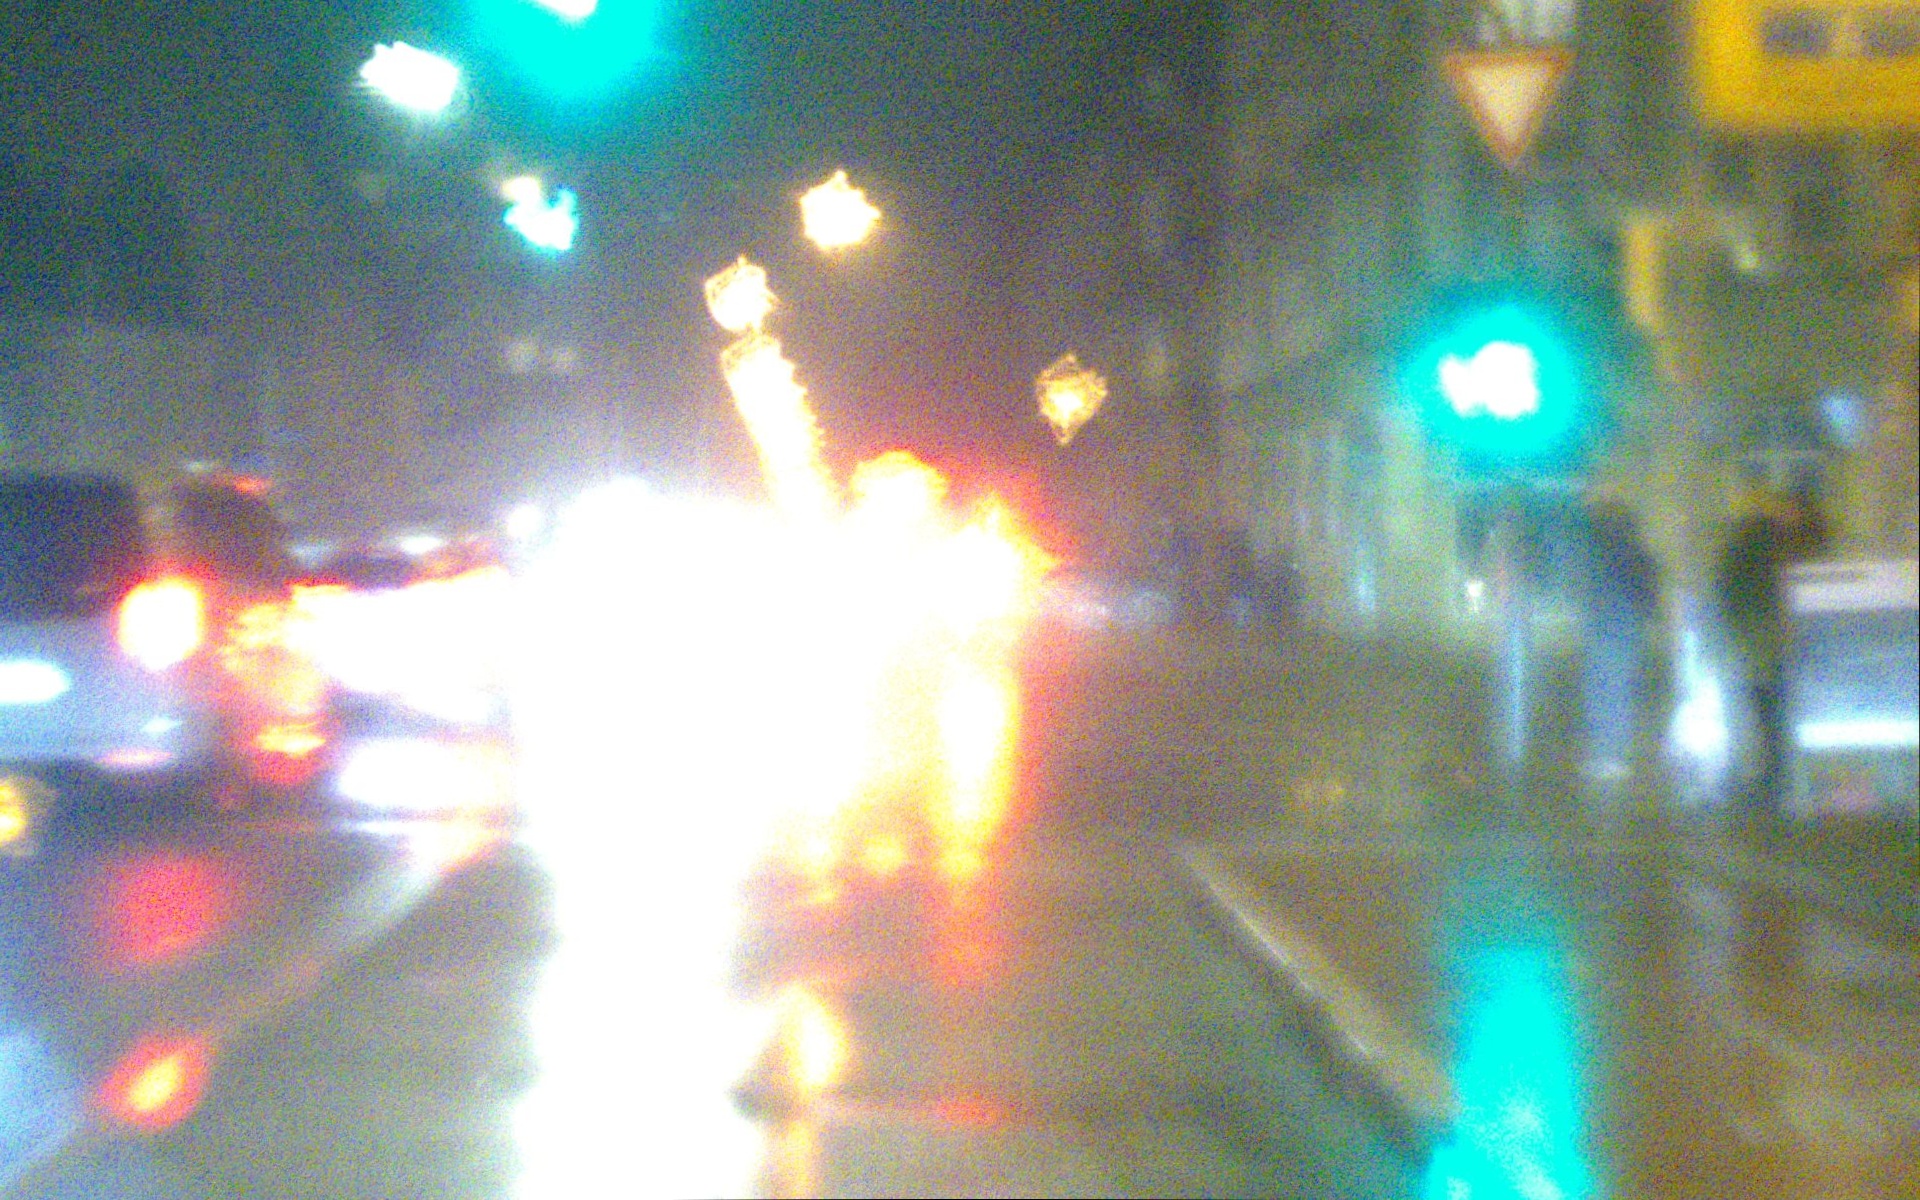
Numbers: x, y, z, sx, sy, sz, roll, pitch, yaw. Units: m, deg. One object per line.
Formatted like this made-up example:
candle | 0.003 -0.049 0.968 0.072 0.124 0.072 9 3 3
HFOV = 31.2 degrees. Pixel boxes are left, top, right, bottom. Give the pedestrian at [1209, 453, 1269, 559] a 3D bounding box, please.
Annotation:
pedestrian | 4.979 -1.674 61.460 0.957 1.875 1.000 0 1 -2

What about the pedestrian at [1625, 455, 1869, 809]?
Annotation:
pedestrian | 4.136 0.152 18.134 1.107 1.819 0.851 0 2 2

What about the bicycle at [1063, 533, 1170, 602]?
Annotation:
bicycle | 2.968 -0.611 65.181 1.896 1.247 0.711 -2 1 -7

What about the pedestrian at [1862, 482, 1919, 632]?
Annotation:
pedestrian | 13.019 -0.600 47.368 0.975 2.006 1.014 1 4 24

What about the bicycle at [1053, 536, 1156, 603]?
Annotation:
bicycle | 2.811 -0.594 66.853 1.896 1.247 0.596 -2 1 -7

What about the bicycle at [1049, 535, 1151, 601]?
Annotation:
bicycle | 2.739 -0.630 67.484 1.896 1.247 0.596 -2 1 -7

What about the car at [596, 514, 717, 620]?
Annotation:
car | -4.537 -0.517 51.743 1.706 1.537 3.989 0 1 -3

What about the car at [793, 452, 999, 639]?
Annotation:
car | -0.762 -0.624 38.447 2.168 1.965 4.302 0 1 -2

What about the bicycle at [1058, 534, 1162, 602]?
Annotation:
bicycle | 2.879 -0.617 66.125 1.896 1.247 0.596 -2 1 -7

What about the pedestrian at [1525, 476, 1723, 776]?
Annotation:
pedestrian | 4.104 0.145 21.323 1.107 1.819 0.851 0 2 5

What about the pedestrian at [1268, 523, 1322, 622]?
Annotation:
pedestrian | 5.566 -0.464 57.195 0.781 1.612 1.000 0 1 -2

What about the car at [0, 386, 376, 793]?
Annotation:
car | -4.709 -0.132 19.275 2.034 1.947 5.201 -2 2 -1

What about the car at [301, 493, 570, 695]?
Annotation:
car | -4.274 -0.087 28.621 1.817 1.537 4.727 0 1 -4
